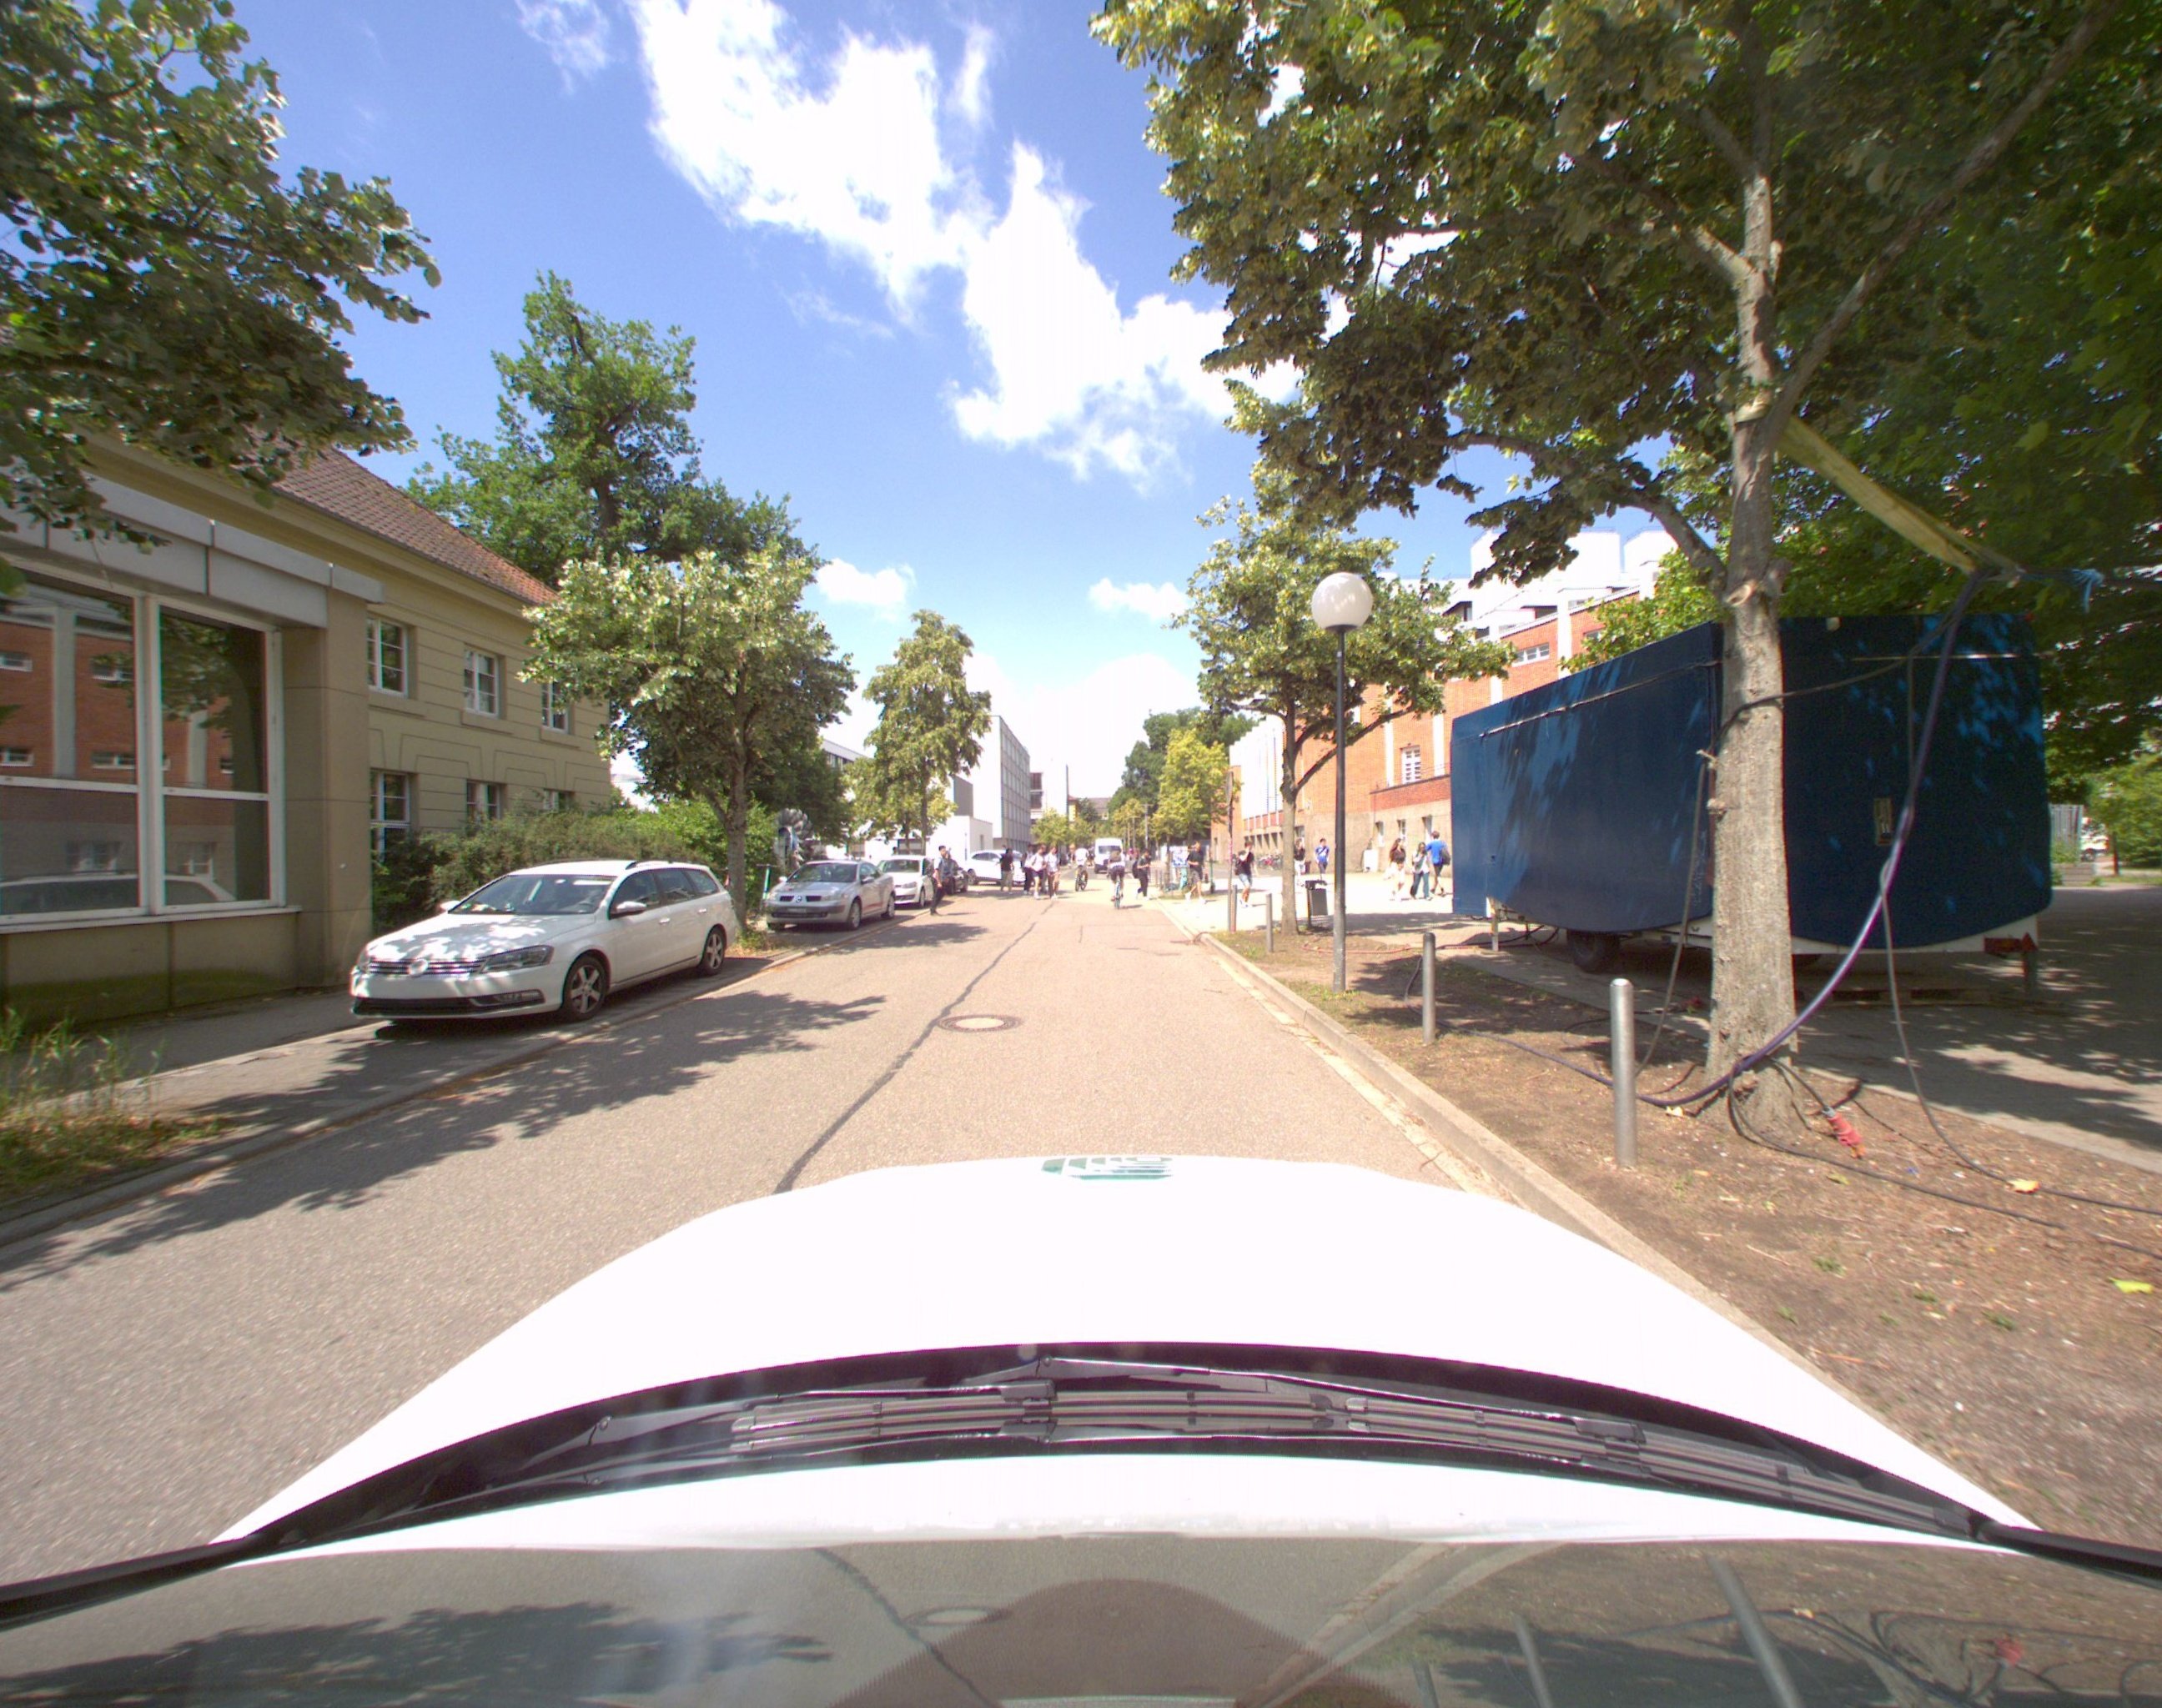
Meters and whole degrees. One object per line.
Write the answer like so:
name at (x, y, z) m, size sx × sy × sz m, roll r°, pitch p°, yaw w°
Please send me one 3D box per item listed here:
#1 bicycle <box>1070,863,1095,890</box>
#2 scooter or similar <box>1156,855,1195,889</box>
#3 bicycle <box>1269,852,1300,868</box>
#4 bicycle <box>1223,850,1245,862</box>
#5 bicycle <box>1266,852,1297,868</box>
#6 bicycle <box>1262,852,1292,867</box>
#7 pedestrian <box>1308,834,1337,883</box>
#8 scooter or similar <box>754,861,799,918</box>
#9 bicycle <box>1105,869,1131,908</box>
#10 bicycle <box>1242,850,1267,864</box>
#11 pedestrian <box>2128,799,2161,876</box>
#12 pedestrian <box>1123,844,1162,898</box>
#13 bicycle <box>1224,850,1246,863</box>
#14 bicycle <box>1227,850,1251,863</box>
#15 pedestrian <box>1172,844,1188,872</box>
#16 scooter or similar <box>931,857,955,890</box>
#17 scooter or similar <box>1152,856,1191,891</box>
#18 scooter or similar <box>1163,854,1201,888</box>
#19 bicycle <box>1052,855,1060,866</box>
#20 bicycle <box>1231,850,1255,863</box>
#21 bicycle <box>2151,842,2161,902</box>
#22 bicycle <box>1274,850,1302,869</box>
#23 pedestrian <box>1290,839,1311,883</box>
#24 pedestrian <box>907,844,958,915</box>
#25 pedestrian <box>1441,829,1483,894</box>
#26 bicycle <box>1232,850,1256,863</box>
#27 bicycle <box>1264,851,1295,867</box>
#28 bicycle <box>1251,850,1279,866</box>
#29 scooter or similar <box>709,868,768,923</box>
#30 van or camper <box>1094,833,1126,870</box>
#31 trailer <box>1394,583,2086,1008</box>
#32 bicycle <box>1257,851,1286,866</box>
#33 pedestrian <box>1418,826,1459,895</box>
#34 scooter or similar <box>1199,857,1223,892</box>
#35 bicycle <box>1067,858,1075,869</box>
bicycle at (0.091, 0.882, 32.200) m, size 0.804 × 1.002 × 2.126 m, roll -1°, pitch -1°, yaw 5°
scooter or similar at (3.561, 0.675, 30.622) m, size 1.248 × 1.265 × 0.655 m, roll -2°, pitch 0°, yaw 33°
bicycle at (12.781, 0.374, 51.252) m, size 1.803 × 0.912 × 0.560 m, roll -3°, pitch 0°, yaw 0°
bicycle at (13.376, 0.193, 71.176) m, size 1.803 × 0.985 × 0.560 m, roll -3°, pitch 0°, yaw 0°
bicycle at (12.822, 0.366, 52.107) m, size 1.803 × 0.912 × 0.560 m, roll -3°, pitch 0°, yaw 0°
bicycle at (12.866, 0.367, 53.512) m, size 1.803 × 0.912 × 0.560 m, roll -3°, pitch 0°, yaw 0°
pedestrian at (9.122, 0.159, 30.740) m, size 0.707 × 1.787 × 0.750 m, roll -3°, pitch 0°, yaw -8°
scooter or similar at (-7.467, 0.845, 20.032) m, size 0.522 × 1.287 × 1.229 m, roll -4°, pitch 1°, yaw 2°
bicycle at (1.028, 0.953, 23.080) m, size 0.704 × 0.993 × 1.911 m, roll 0°, pitch 0°, yaw 1°
bicycle at (13.586, 0.221, 63.799) m, size 1.803 × 0.985 × 0.560 m, roll -3°, pitch 0°, yaw 0°
pedestrian at (26.674, -0.410, 20.039) m, size 0.833 × 1.883 × 0.729 m, roll -2°, pitch -2°, yaw -9°
pedestrian at (2.020, 0.556, 26.774) m, size 0.707 × 1.719 × 0.982 m, roll -3°, pitch 1°, yaw -40°
bicycle at (13.279, 0.202, 70.214) m, size 1.803 × 0.985 × 0.560 m, roll -3°, pitch 0°, yaw 0°
bicycle at (13.152, 0.222, 67.877) m, size 1.803 × 0.985 × 0.560 m, roll -3°, pitch 0°, yaw 0°
pedestrian at (6.208, 0.226, 51.243) m, size 0.850 × 1.732 × 1.160 m, roll -2°, pitch 0°, yaw 1°
scooter or similar at (-5.762, 0.812, 34.011) m, size 0.501 × 1.299 × 1.220 m, roll -2°, pitch 1°, yaw 13°
scooter or similar at (3.320, 0.720, 29.883) m, size 1.248 × 1.265 × 0.655 m, roll -2°, pitch 0°, yaw 33°
scooter or similar at (3.906, 0.672, 31.430) m, size 1.248 × 1.265 × 0.644 m, roll -2°, pitch 0°, yaw 33°
bicycle at (-2.242, 0.555, 73.099) m, size 0.675 × 0.965 × 2.002 m, roll -1°, pitch 0°, yaw -1°
bicycle at (13.220, 0.229, 66.341) m, size 1.803 × 0.985 × 0.560 m, roll -3°, pitch 0°, yaw 0°
bicycle at (20.960, 0.348, 14.738) m, size 0.571 × 1.140 × 2.027 m, roll -1°, pitch 0°, yaw 1°
bicycle at (12.536, 0.333, 49.321) m, size 1.529 × 1.033 × 0.560 m, roll -2°, pitch 0°, yaw 0°
pedestrian at (8.232, 0.263, 30.522) m, size 0.501 × 1.630 × 0.570 m, roll -3°, pitch 0°, yaw -8°
pedestrian at (-3.671, 0.621, 20.199) m, size 1.102 × 1.716 × 0.709 m, roll 1°, pitch -1°, yaw -3°
pedestrian at (10.958, 0.209, 23.431) m, size 0.699 × 1.803 × 0.994 m, roll -3°, pitch 0°, yaw 1°
bicycle at (13.463, 0.200, 67.171) m, size 1.803 × 0.985 × 0.560 m, roll -3°, pitch 0°, yaw 0°
bicycle at (12.858, 0.328, 52.755) m, size 1.803 × 0.985 × 0.560 m, roll -3°, pitch 0°, yaw 0°
bicycle at (12.940, 0.279, 57.236) m, size 1.803 × 0.985 × 0.560 m, roll -3°, pitch 0°, yaw 0°
scooter or similar at (-7.650, 0.908, 18.214) m, size 0.466 × 1.171 × 1.234 m, roll -1°, pitch 0°, yaw 21°
van or camper at (2.130, -0.141, 58.231) m, size 1.984 × 2.446 × 4.575 m, roll -2°, pitch -1°, yaw 4°
trailer at (6.106, -0.446, 9.187) m, size 2.683 × 3.051 × 6.257 m, roll -3°, pitch 0°, yaw 0°
bicycle at (12.975, 0.300, 55.365) m, size 1.803 × 0.985 × 0.560 m, roll -3°, pitch 0°, yaw 0°
pedestrian at (10.152, 0.179, 23.147) m, size 0.699 × 1.891 × 0.994 m, roll -3°, pitch 1°, yaw 1°
scooter or similar at (4.642, 0.719, 29.052) m, size 0.643 × 1.160 × 1.270 m, roll -2°, pitch 0°, yaw 17°
bicycle at (-0.944, 0.857, 74.351) m, size 0.675 × 0.965 × 2.001 m, roll 1°, pitch -2°, yaw -2°
